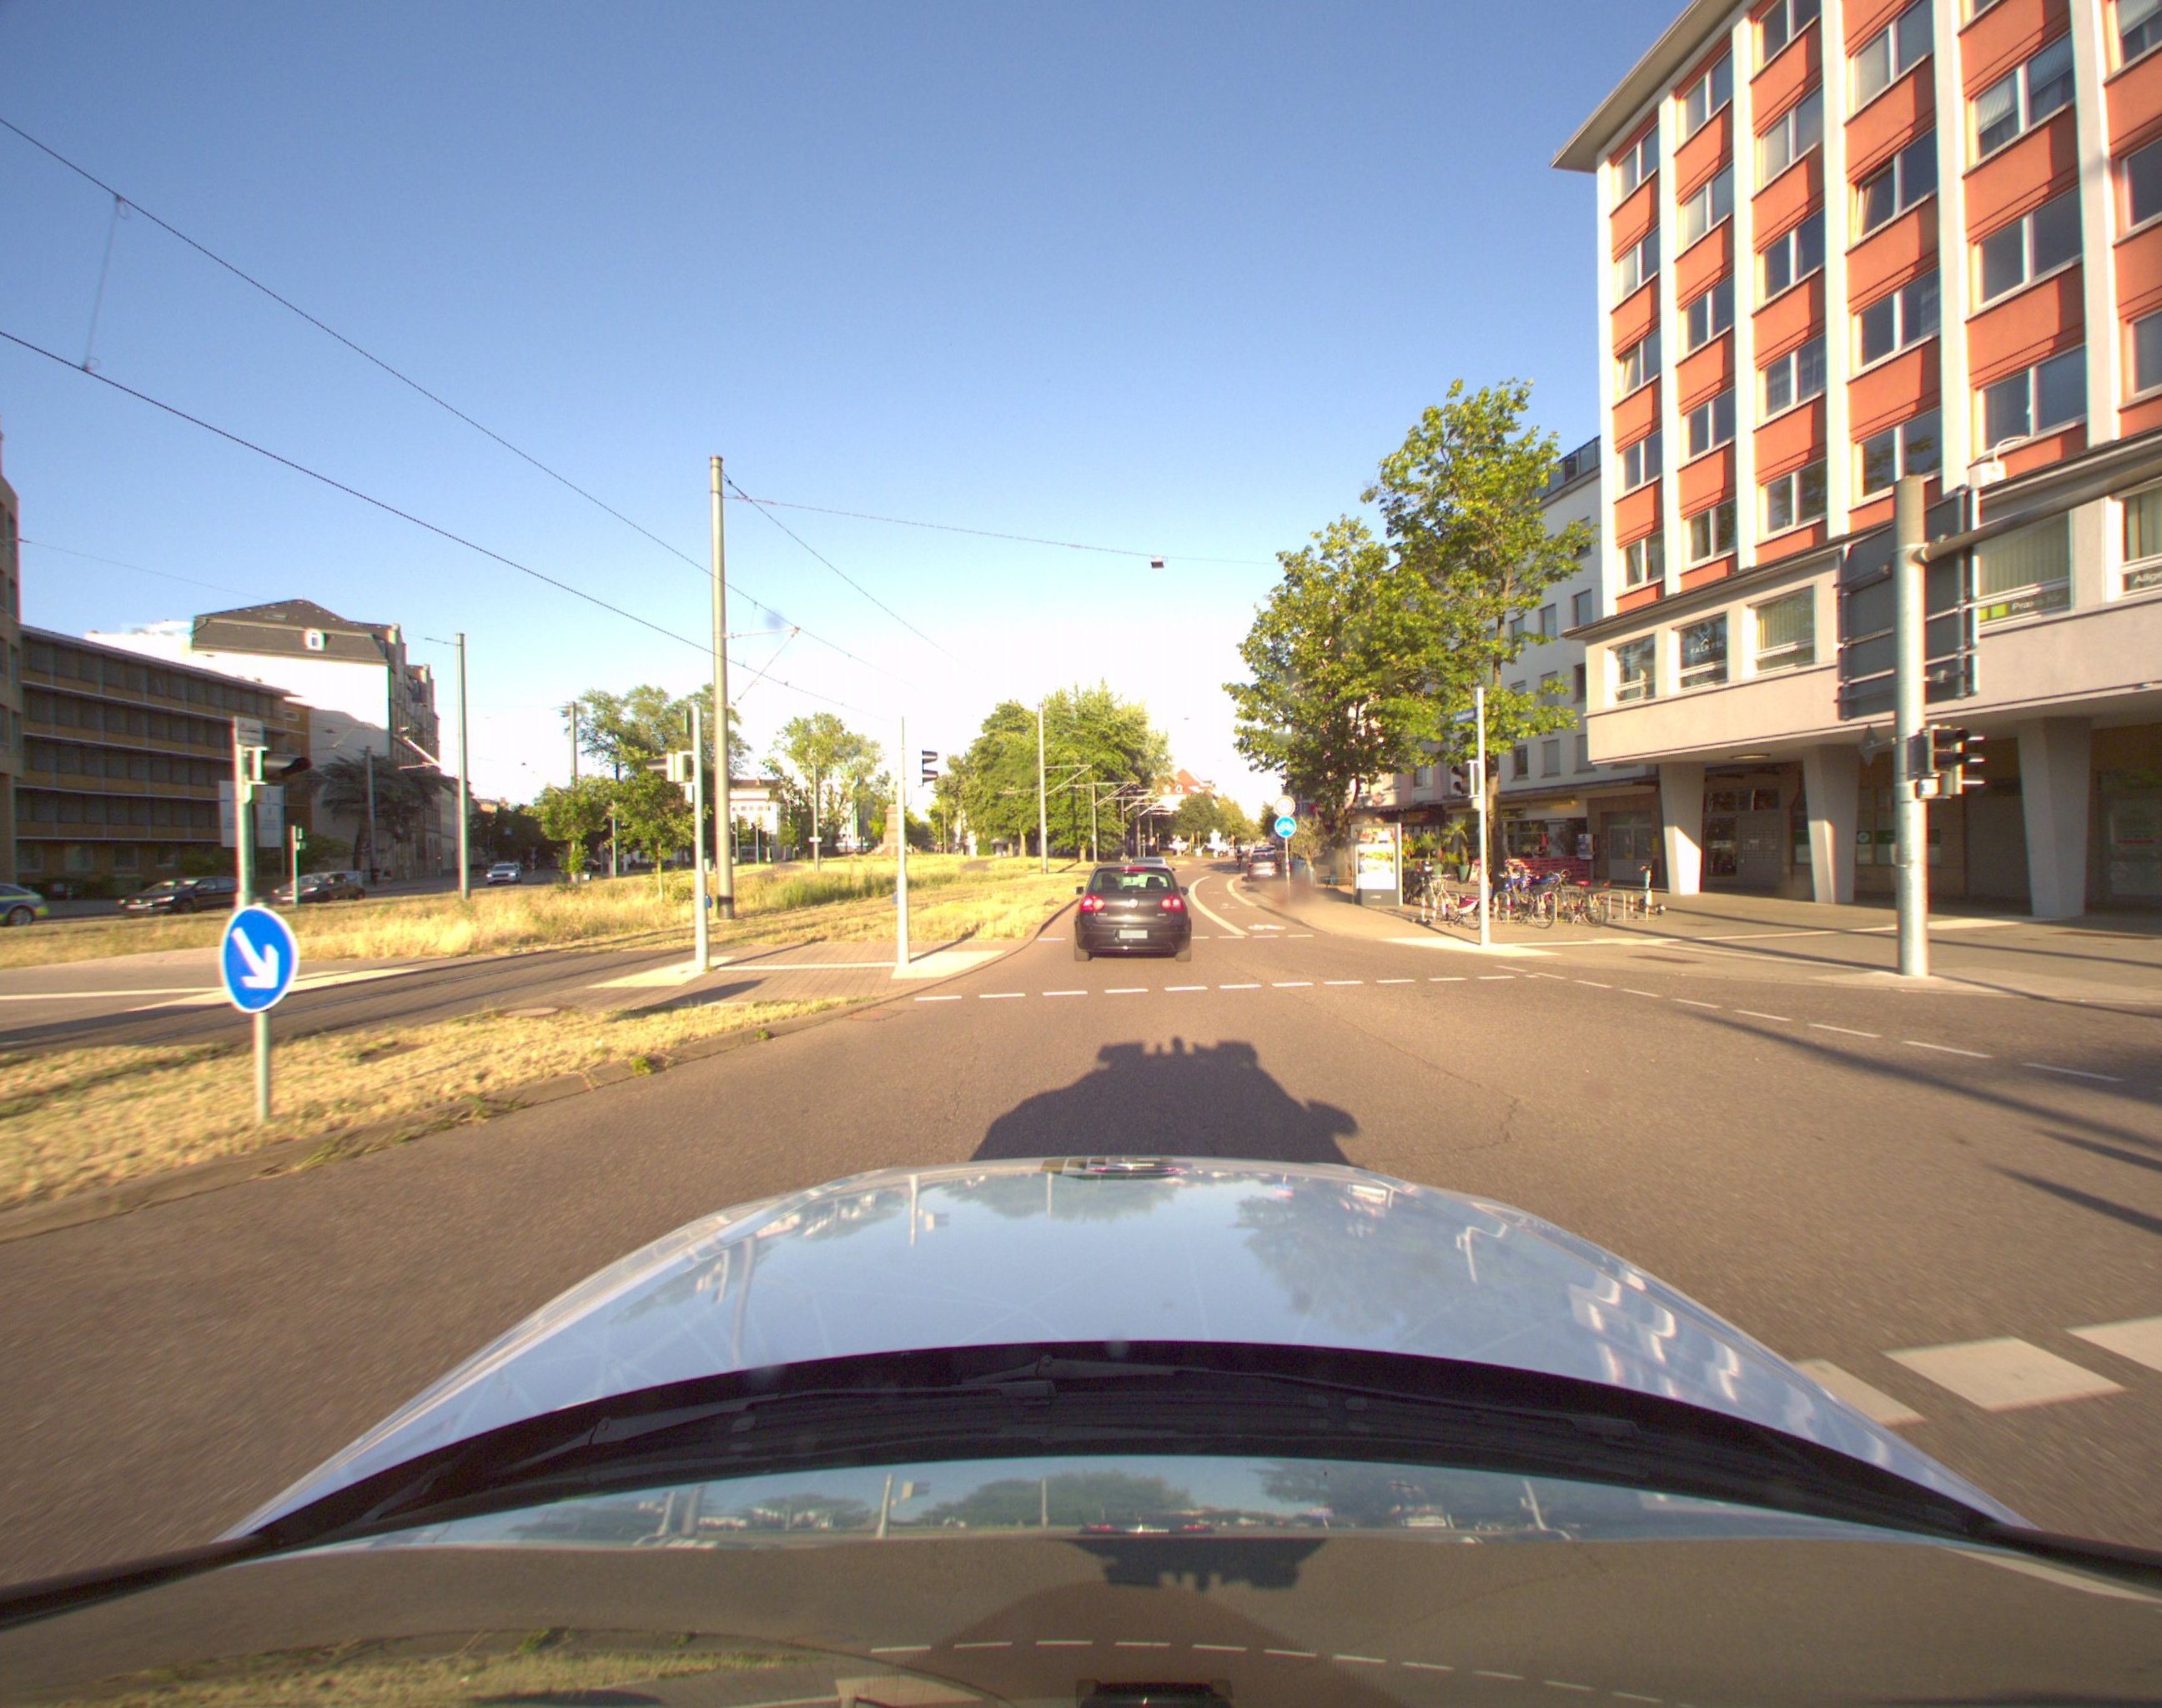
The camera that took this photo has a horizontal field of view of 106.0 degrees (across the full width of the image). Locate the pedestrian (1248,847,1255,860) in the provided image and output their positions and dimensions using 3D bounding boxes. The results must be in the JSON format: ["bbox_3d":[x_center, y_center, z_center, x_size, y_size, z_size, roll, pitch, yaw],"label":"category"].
[{"bbox_3d":[21.793,-0.031,104.090,0.855,1.706,0.943,0,0,7],"label":"pedestrian"}]

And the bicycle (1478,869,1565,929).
[{"bbox_3d":[9.406,0.931,17.474,0.644,1.126,1.869,-1,1,-8],"label":"bicycle"}]

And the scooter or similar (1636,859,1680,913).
[{"bbox_3d":[14.135,0.772,19.973,0.412,1.254,1.186,-1,0,9],"label":"scooter or similar"}]

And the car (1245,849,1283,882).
[{"bbox_3d":[9.311,0.563,41.416,1.716,1.472,3.913,-3,0,13],"label":"car"}]

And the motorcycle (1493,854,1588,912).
[{"bbox_3d":[11.817,0.730,20.973,2.039,1.406,0.760,-1,0,-3],"label":"motorcycle"}]

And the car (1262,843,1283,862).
[{"bbox_3d":[19.308,-0.159,82.435,1.855,1.713,4.520,-3,0,12],"label":"car"}]

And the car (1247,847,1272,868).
[{"bbox_3d":[14.581,0.232,66.476,1.769,1.556,4.251,-4,0,14],"label":"car"}]

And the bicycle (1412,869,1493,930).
[{"bbox_3d":[7.833,0.932,17.246,0.644,1.126,1.869,-1,1,-8],"label":"bicycle"}]

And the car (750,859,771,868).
[{"bbox_3d":[-55.831,1.634,141.896,3.343,1.361,1.513,-1,0,-14],"label":"car"}]

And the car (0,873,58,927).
[{"bbox_3d":[-31.525,1.356,22.165,1.890,1.480,4.763,-1,0,-11],"label":"car"}]

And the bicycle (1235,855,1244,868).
[{"bbox_3d":[12.144,0.577,62.428,0.575,0.987,1.943,0,0,13],"label":"bicycle"}]

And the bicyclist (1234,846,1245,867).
[{"bbox_3d":[12.143,0.172,62.403,0.771,1.618,1.029,0,0,13],"label":"bicyclist"}]

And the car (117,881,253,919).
[{"bbox_3d":[-33.082,1.670,30.212,1.521,1.153,3.584,-1,1,-12],"label":"car"}]

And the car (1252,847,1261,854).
[{"bbox_3d":[38.723,-0.811,179.496,1.893,1.552,4.014,-1,1,13],"label":"car"}]

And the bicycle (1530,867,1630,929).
[{"bbox_3d":[10.717,0.912,17.584,0.644,1.157,2.118,-1,1,-8],"label":"bicycle"}]

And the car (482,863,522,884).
[{"bbox_3d":[-45.237,1.471,63.703,1.779,1.482,4.274,-1,1,-25],"label":"car"}]

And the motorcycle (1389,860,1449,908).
[{"bbox_3d":[9.507,0.811,23.000,0.665,1.242,2.198,-1,0,-4],"label":"motorcycle"}]

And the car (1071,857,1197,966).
[{"bbox_3d":[0.796,0.801,13.365,1.741,1.461,4.105,-1,0,2],"label":"car"}]

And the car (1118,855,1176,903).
[{"bbox_3d":[2.404,0.825,28.865,1.855,1.441,4.204,-2,1,6],"label":"car"}]

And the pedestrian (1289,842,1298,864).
[{"bbox_3d":[18.495,-0.098,70.937,0.618,1.858,0.664,-4,-1,14],"label":"pedestrian"}]

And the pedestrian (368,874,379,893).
[{"bbox_3d":[-53.609,2.241,61.703,0.413,1.430,0.483,-1,0,-11],"label":"pedestrian"}]

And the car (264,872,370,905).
[{"bbox_3d":[-34.270,1.509,36.666,1.646,1.281,3.727,-1,1,-10],"label":"car"}]

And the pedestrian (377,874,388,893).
[{"bbox_3d":[-53.015,2.241,61.823,0.413,1.430,0.483,-1,0,-11],"label":"pedestrian"}]

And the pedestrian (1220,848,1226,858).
[{"bbox_3d":[20.455,-0.151,117.373,0.731,1.555,0.634,-1,0,10],"label":"pedestrian"}]

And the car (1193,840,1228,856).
[{"bbox_3d":[21.781,-1.076,137.042,5.517,2.594,2.145,-1,0,-13],"label":"car"}]

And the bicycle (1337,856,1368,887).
[{"bbox_3d":[10.840,0.666,32.572,0.420,1.157,1.750,-1,1,-8],"label":"bicycle"}]
